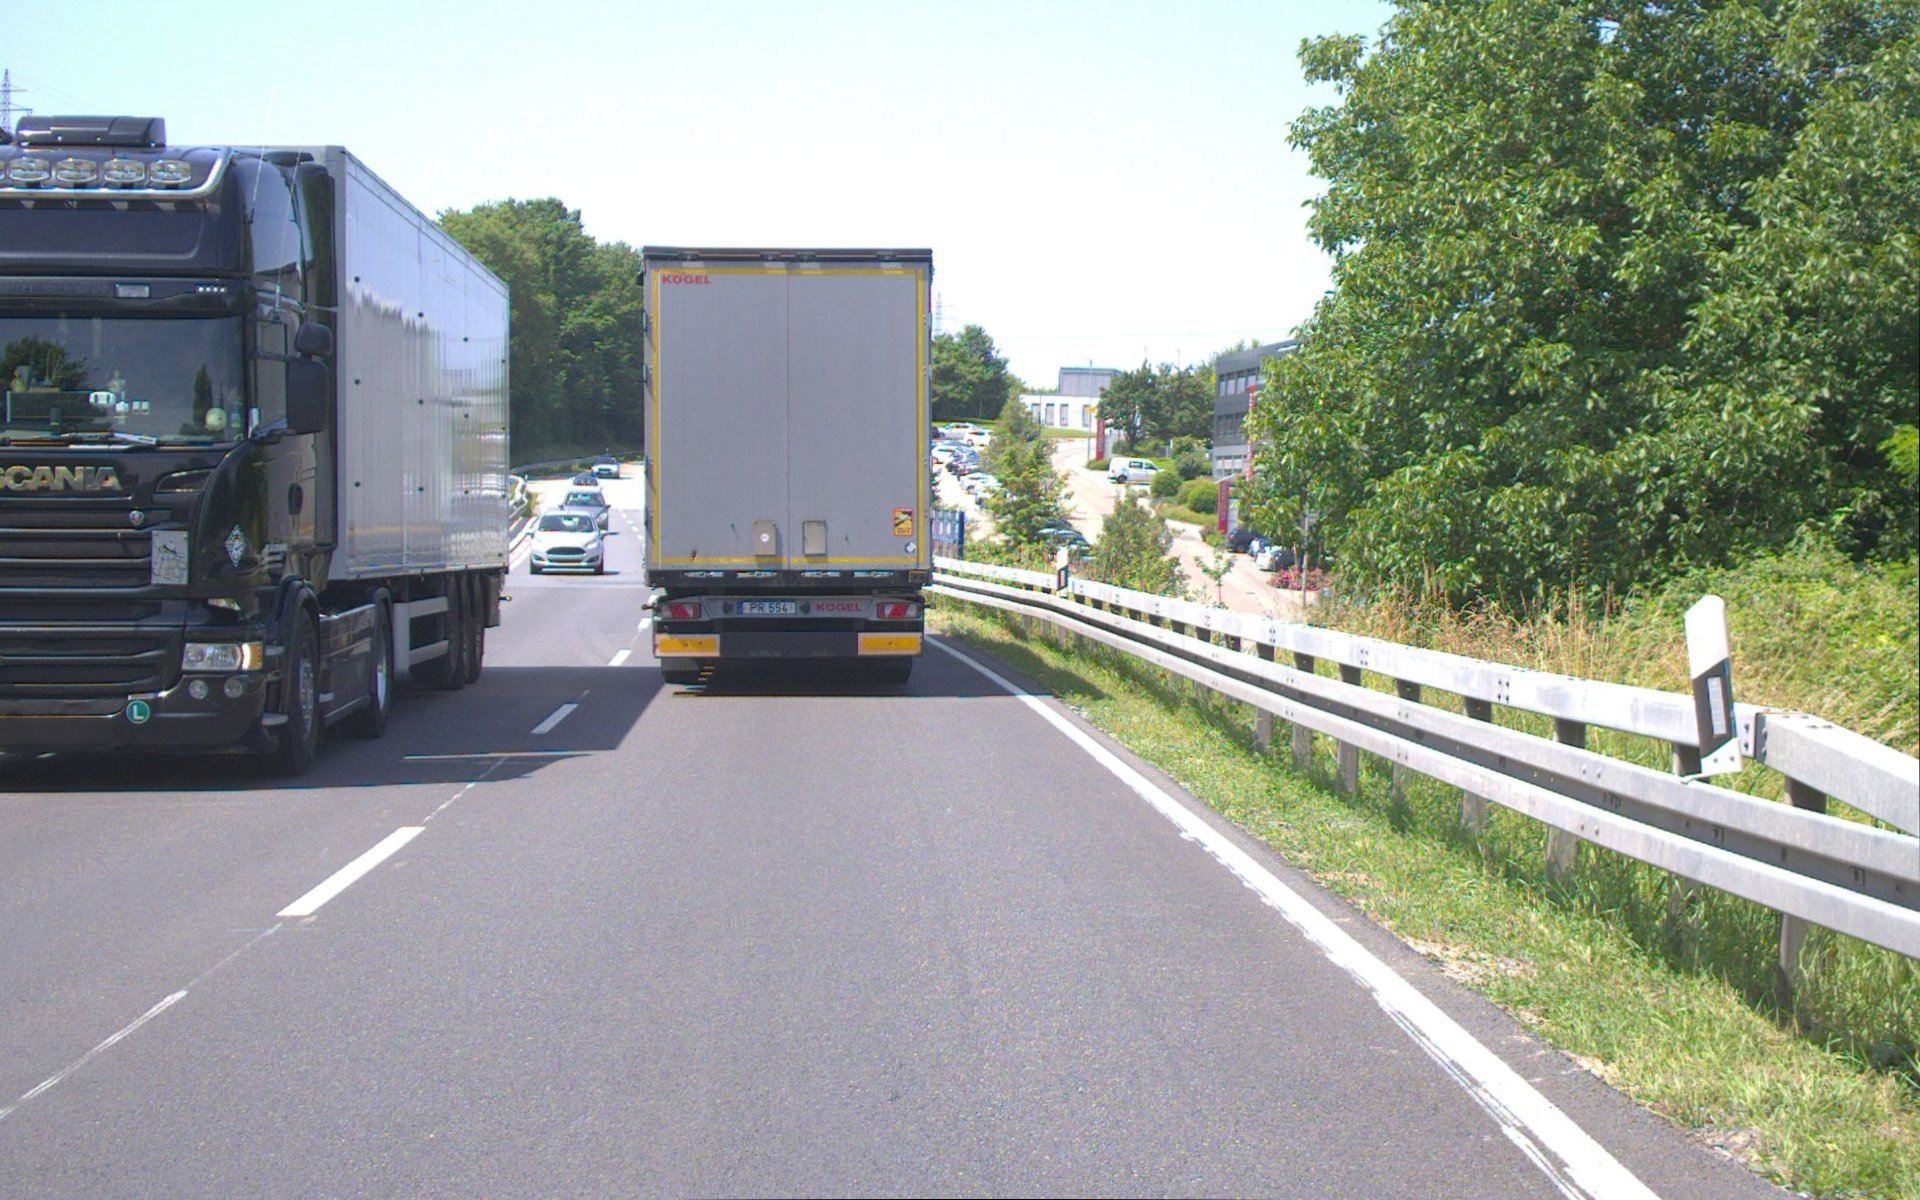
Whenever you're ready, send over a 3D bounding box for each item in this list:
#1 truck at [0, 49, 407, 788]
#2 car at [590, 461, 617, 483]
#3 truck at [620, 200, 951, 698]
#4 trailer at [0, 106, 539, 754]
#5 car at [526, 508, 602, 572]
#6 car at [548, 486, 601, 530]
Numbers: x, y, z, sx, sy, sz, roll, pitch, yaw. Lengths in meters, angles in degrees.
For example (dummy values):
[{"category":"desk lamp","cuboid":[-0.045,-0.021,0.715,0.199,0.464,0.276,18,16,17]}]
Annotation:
[{"category":"truck","cuboid":[-5.231,-1.091,22.332,2.445,4.180,5.649,-1,1,-1]},{"category":"car","cuboid":[-24.267,-8.724,234.213,1.781,1.430,4.836,0,2,-6]},{"category":"truck","cuboid":[-1.781,-1.427,35.060,2.866,4.344,9.790,-1,1,-3]},{"category":"trailer","cuboid":[-5.421,-1.266,29.236,2.445,4.170,14.017,-1,1,-2]},{"category":"car","cuboid":[-9.308,-1.432,81.023,1.646,1.436,4.159,-1,2,-5]},{"category":"car","cuboid":[-14.332,-3.423,127.930,1.806,1.584,4.380,0,2,-5]}]
